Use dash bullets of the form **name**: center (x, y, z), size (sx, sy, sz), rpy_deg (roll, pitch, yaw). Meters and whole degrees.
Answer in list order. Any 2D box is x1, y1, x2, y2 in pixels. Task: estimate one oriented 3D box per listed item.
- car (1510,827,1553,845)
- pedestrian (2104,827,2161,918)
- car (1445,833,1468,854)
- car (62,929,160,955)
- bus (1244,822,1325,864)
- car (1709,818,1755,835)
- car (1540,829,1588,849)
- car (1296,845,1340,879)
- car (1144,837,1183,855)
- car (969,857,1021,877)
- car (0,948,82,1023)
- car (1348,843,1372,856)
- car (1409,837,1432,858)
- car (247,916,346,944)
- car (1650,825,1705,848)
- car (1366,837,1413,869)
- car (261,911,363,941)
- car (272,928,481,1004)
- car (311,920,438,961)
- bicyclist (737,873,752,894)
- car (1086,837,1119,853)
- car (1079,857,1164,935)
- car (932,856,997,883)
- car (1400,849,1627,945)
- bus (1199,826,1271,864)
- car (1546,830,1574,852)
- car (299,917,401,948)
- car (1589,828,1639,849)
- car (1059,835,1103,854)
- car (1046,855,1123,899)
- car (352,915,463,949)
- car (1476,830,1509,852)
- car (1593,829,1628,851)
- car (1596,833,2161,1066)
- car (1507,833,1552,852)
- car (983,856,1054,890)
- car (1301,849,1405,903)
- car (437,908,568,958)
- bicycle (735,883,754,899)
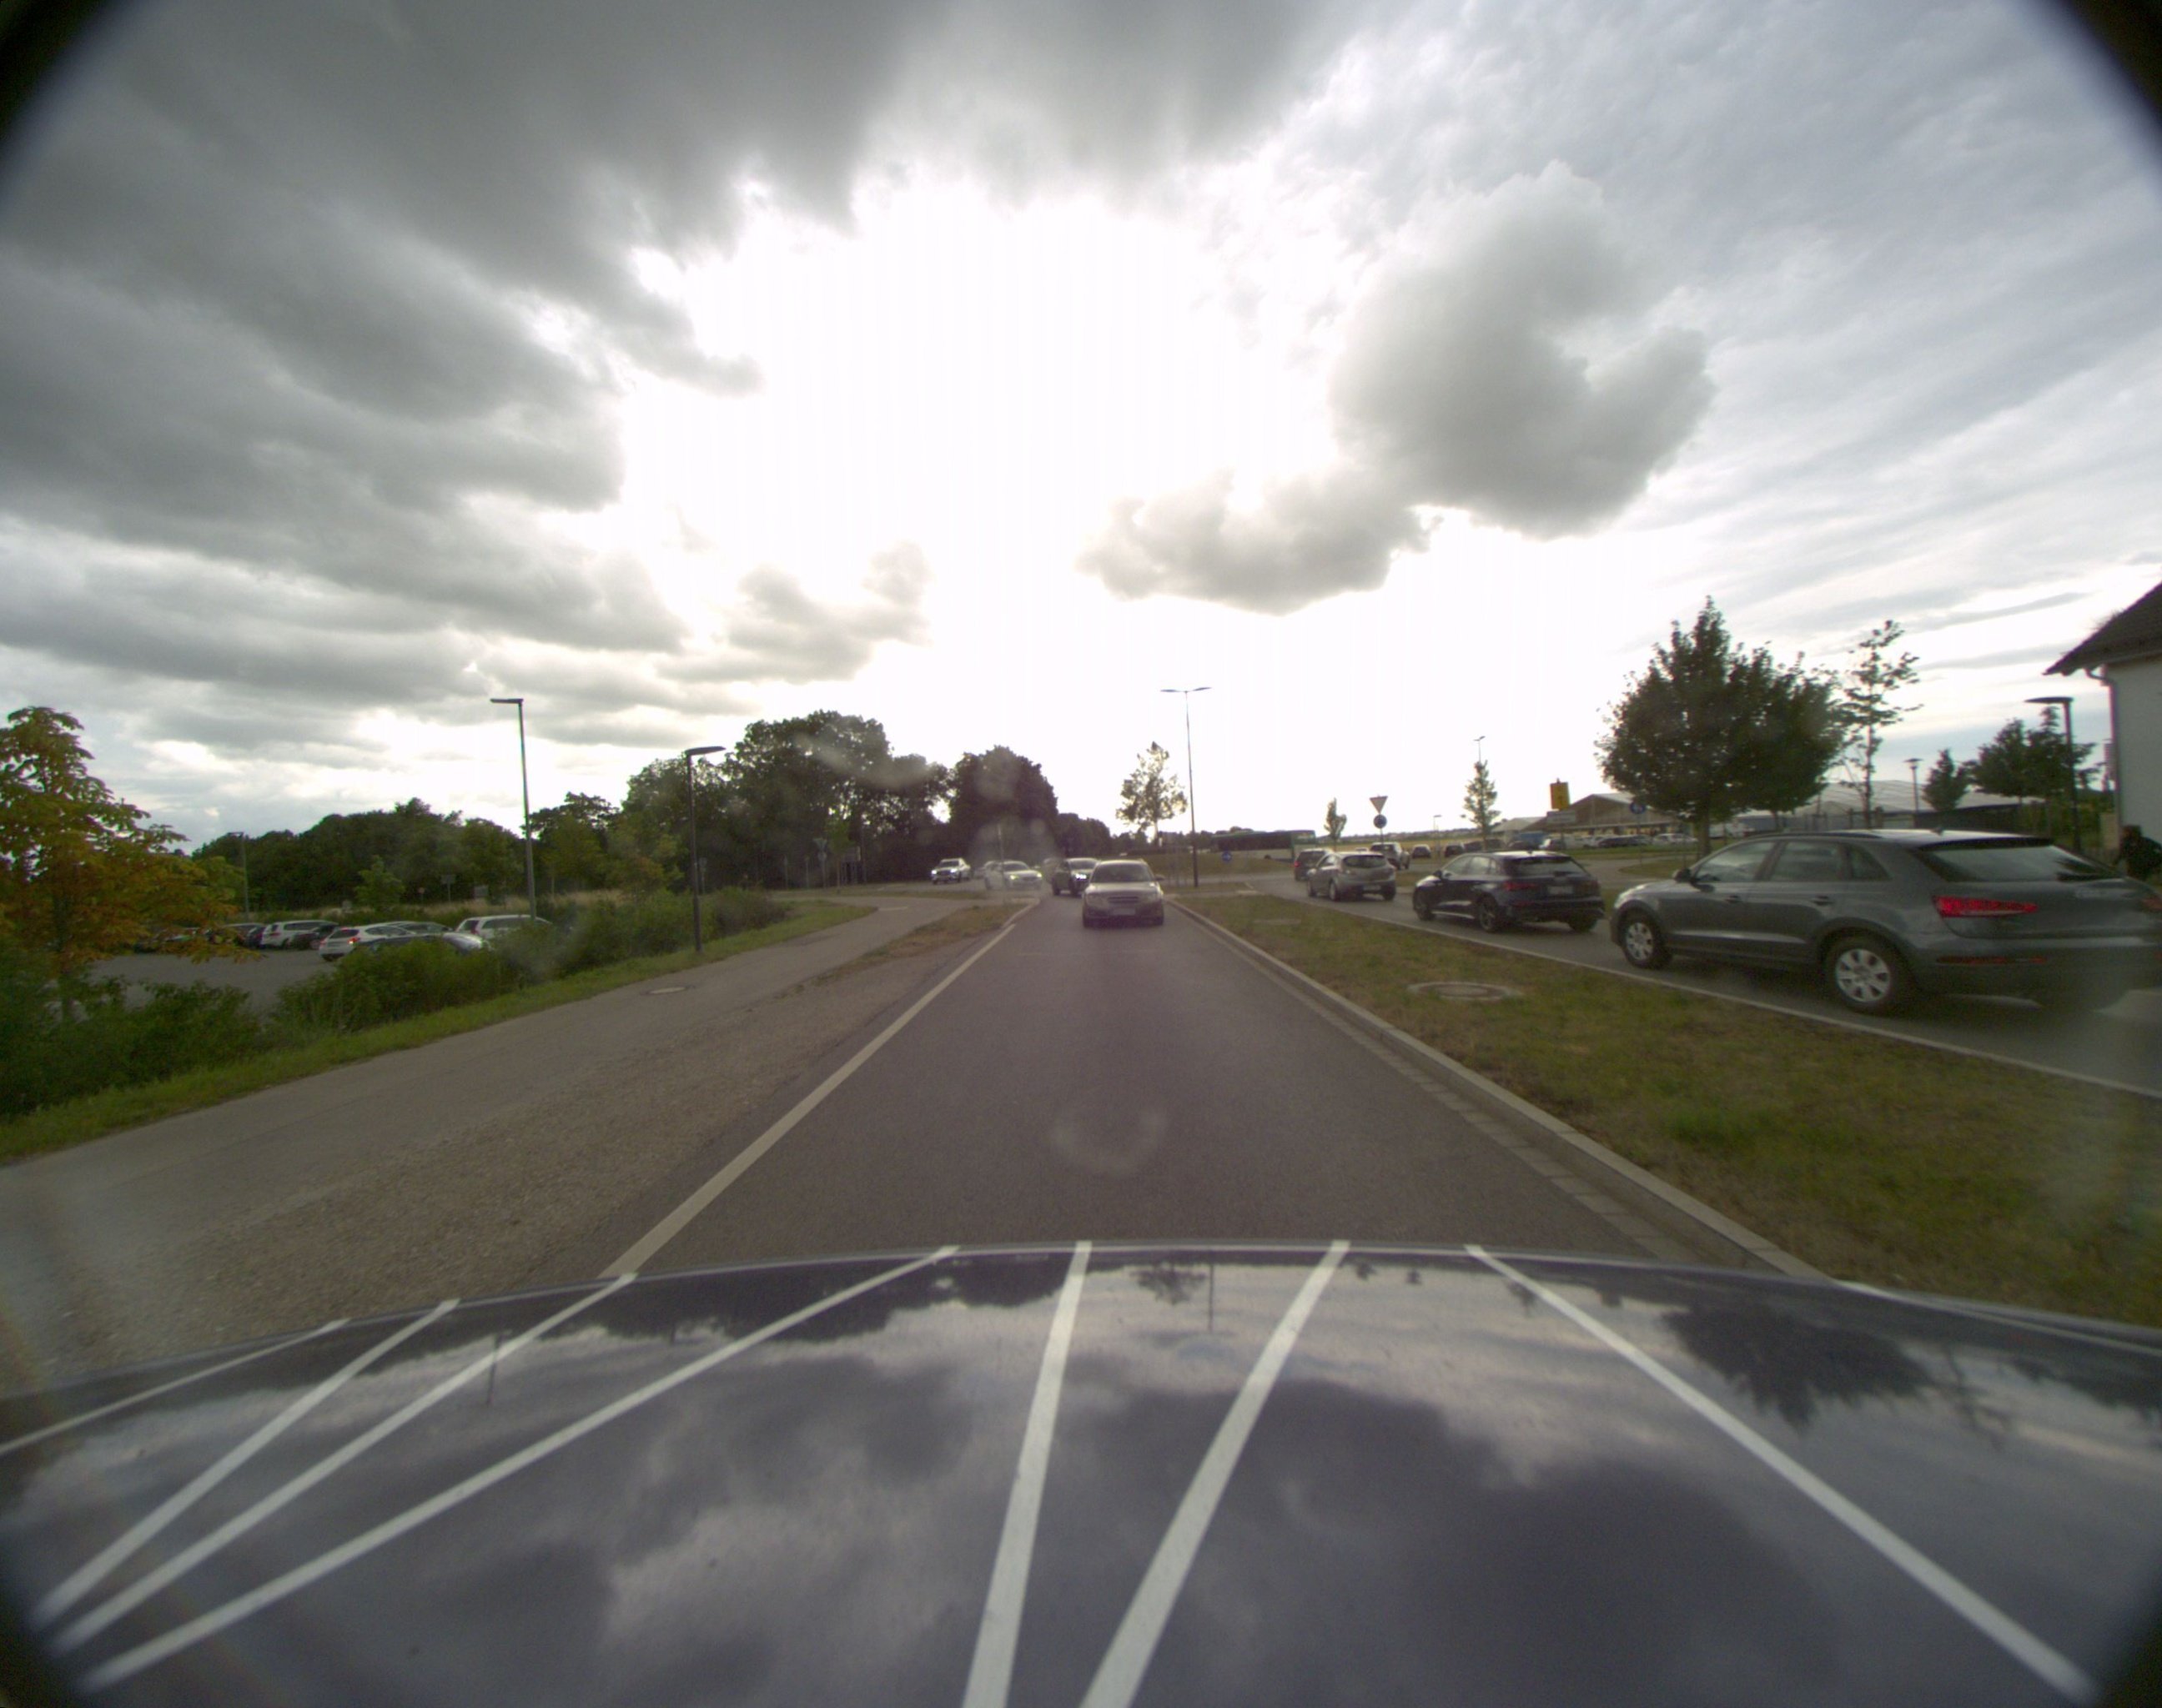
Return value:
- **car**: center (53.294, -2.119, 89.945), size (4.001, 2.002, 1.998), rpy_deg (-2, 0, -12)
- **pedestrian**: center (18.615, 0.317, 13.289), size (0.547, 1.521, 0.586), rpy_deg (-4, 1, 1)
- **car**: center (37.614, -1.086, 76.140), size (1.995, 2.002, 4.007), rpy_deg (-1, 0, 25)
- **car**: center (-68.648, 6.201, 53.846), size (1.697, 1.352, 4.007), rpy_deg (-1, 0, 28)
- **bus**: center (16.896, -0.843, 63.622), size (2.997, 3.261, 6.471), rpy_deg (-2, 0, -26)
- **car**: center (82.259, -3.472, 95.991), size (4.568, 2.002, 1.998), rpy_deg (-2, 0, -12)
- **car**: center (52.378, -1.623, 82.403), size (4.000, 2.002, 1.999), rpy_deg (-2, 0, -8)
- **car**: center (11.184, 0.356, 35.737), size (1.828, 1.480, 4.343), rpy_deg (-1, 0, 18)
- **car**: center (8.214, -0.813, 75.426), size (1.994, 1.674, 4.008), rpy_deg (-1, 0, 38)
- **car**: center (-6.959, 1.017, 61.784), size (1.994, 1.510, 3.778), rpy_deg (-1, 0, 39)
- **car**: center (-28.687, 3.517, 19.550), size (3.390, 1.696, 1.802), rpy_deg (-5, 0, -1)
- **car**: center (29.563, -0.508, 80.486), size (1.995, 1.280, 4.007), rpy_deg (-1, 0, 25)
- **car**: center (34.881, -0.651, 77.995), size (1.995, 2.002, 4.007), rpy_deg (-1, 0, 25)
- **car**: center (-49.323, 4.744, 47.845), size (1.697, 1.352, 4.007), rpy_deg (-1, 0, 28)
- **car**: center (56.841, -1.643, 72.466), size (4.001, 2.002, 1.998), rpy_deg (-2, 0, -12)
- **car**: center (18.327, -0.093, 45.089), size (1.826, 1.712, 4.407), rpy_deg (-1, 2, 32)
- **car**: center (-46.619, 4.337, 46.137), size (1.697, 1.352, 4.007), rpy_deg (-1, 0, 28)
- **car**: center (-18.878, 2.971, 20.491), size (3.997, 1.696, 1.657), rpy_deg (-2, 0, -1)
- **car**: center (-32.102, 3.907, 34.682), size (1.842, 1.352, 4.001), rpy_deg (-2, 0, 4)
- **bicyclist**: center (-21.028, 1.836, 47.494), size (0.657, 1.236, 0.556), rpy_deg (-1, 1, 41)
- **car**: center (2.478, -1.050, 87.111), size (1.994, 1.674, 4.008), rpy_deg (-1, 0, 33)
- **car**: center (0.960, 0.873, 17.576), size (1.700, 1.458, 4.000), rpy_deg (-2, 1, 4)
- **car**: center (-7.914, 1.022, 51.370), size (4.003, 1.674, 1.997), rpy_deg (-2, 0, -20)
- **car**: center (7.789, 0.682, 14.256), size (1.830, 1.480, 4.350), rpy_deg (-2, 0, 1)
- **bus**: center (13.976, -0.784, 69.531), size (2.997, 3.261, 6.688), rpy_deg (-2, 0, -26)
- **car**: center (46.899, -1.243, 74.464), size (1.995, 2.002, 4.007), rpy_deg (-1, 0, 29)
- **car**: center (-43.260, 4.620, 45.058), size (1.697, 1.352, 4.007), rpy_deg (-1, 0, 28)
- **car**: center (54.890, -1.592, 78.288), size (4.001, 2.002, 1.998), rpy_deg (-2, 0, -12)
- **car**: center (0.024, -0.981, 75.671), size (1.994, 1.794, 4.781), rpy_deg (-1, 0, 33)
- **car**: center (0.027, 0.873, 31.365), size (1.872, 1.578, 5.056), rpy_deg (-4, 1, -14)
- **car**: center (-35.552, 4.097, 40.233), size (1.697, 1.352, 4.007), rpy_deg (-1, 0, 28)
- **car**: center (40.381, -1.231, 74.573), size (1.996, 2.002, 4.005), rpy_deg (-1, 0, 16)
- **car**: center (50.083, -1.329, 71.926), size (2.227, 2.002, 4.007), rpy_deg (-1, 0, 29)
- **car**: center (7.357, 0.664, 7.410), size (1.830, 1.573, 4.216), rpy_deg (-2, 0, 1)
- **car**: center (50.469, -1.255, 85.495), size (4.001, 2.002, 1.998), rpy_deg (-2, 0, -12)
- **car**: center (-3.261, 0.966, 38.834), size (1.874, 1.533, 4.190), rpy_deg (-4, 1, -30)
- **car**: center (8.195, 0.610, 23.269), size (1.830, 1.480, 4.216), rpy_deg (-2, 0, 3)
- **car**: center (-25.443, 3.431, 33.594), size (1.697, 1.707, 4.250), rpy_deg (-1, 0, 28)
- **bicycle**: center (-21.014, 2.320, 47.491), size (1.297, 0.956, 0.569), rpy_deg (-1, 0, 41)
